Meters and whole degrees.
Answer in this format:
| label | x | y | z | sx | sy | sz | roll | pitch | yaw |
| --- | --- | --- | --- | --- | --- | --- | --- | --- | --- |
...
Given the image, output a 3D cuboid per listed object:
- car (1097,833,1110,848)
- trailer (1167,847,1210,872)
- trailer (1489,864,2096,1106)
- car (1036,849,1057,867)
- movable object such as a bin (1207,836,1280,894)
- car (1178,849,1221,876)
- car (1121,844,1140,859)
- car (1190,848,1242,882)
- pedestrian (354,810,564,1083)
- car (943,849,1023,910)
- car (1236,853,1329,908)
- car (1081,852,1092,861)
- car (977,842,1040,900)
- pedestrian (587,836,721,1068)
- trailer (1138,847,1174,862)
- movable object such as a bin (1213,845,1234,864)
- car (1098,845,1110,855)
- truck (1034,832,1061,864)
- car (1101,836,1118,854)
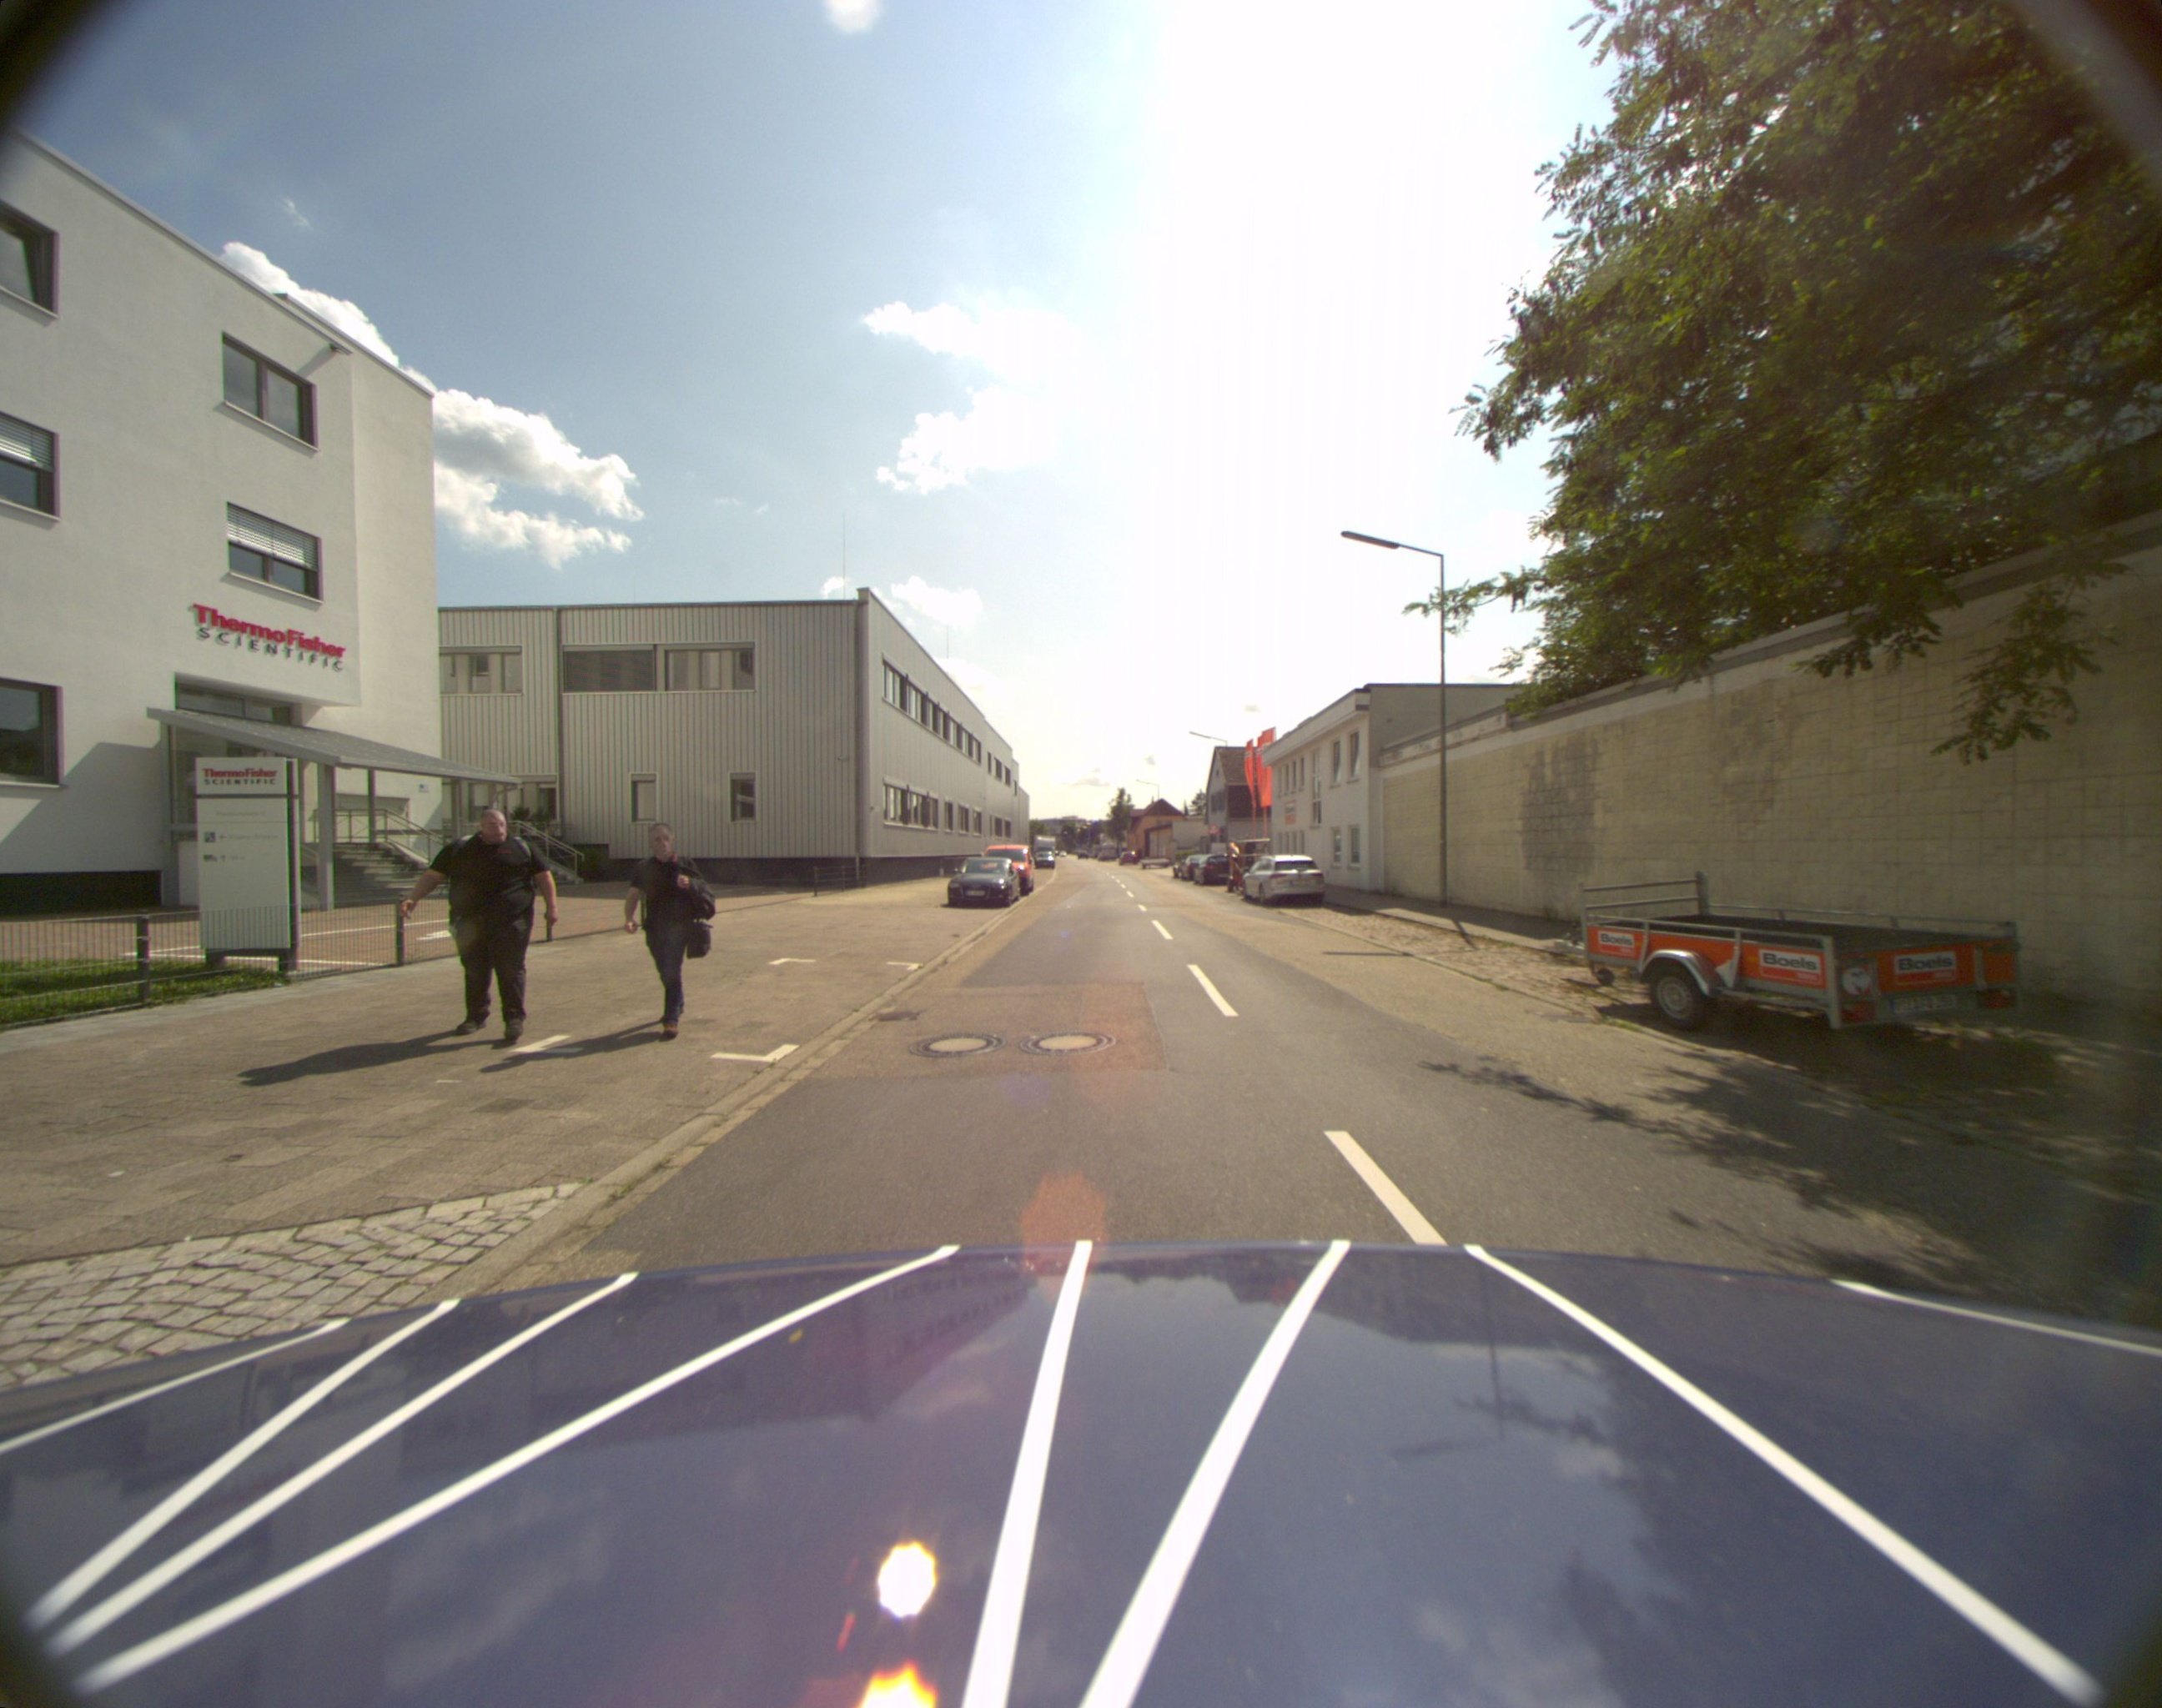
| label | x | y | z | sx | sy | sz | roll | pitch | yaw |
| --- | --- | --- | --- | --- | --- | --- | --- | --- | --- |
| car | 4.240 | -2.501 | 142.273 | 1.999 | 2.556 | 5.823 | -3 | 1 | -1 |
| trailer | 6.467 | 0.313 | 46.266 | 1.772 | 1.368 | 5.050 | -2 | 1 | -1 |
| trailer | 5.956 | 0.916 | 7.285 | 1.771 | 1.431 | 4.335 | -3 | 1 | 1 |
| car | -3.172 | 0.356 | 70.522 | 1.715 | 1.502 | 4.114 | -3 | 1 | -1 |
| movable object such as a bin | 6.147 | 0.385 | 29.258 | 1.618 | 1.908 | 5.138 | -4 | 0 | 0 |
| car | 6.387 | 0.426 | 41.361 | 1.677 | 1.368 | 3.883 | -2 | 1 | -1 |
| car | 5.489 | -0.284 | 84.473 | 1.714 | 1.459 | 4.629 | -3 | 1 | 0 |
| car | 6.318 | 0.475 | 35.926 | 1.677 | 1.447 | 4.223 | -2 | 1 | 0 |
| pedestrian | -4.879 | 0.653 | 6.077 | 0.994 | 1.940 | 1.089 | 0 | 1 | -22 |
| car | -2.829 | 0.676 | 22.865 | 1.663 | 1.549 | 4.178 | -3 | 1 | 2 |
| car | 6.065 | 0.732 | 23.374 | 1.677 | 1.447 | 4.513 | -2 | 1 | 1 |
| car | 0.908 | 0.369 | 130.547 | 1.739 | 1.434 | 3.999 | 1 | 1 | -2 |
| car | -2.633 | 0.564 | 28.630 | 1.877 | 1.881 | 4.451 | -5 | 1 | -1 |
| pedestrian | -3.595 | 0.757 | 6.503 | 0.860 | 1.797 | 1.003 | 0 | 1 | -22 |
| trailer | 6.294 | 0.004 | 64.859 | 2.457 | 1.157 | 6.052 | -2 | 1 | 0 |
| movable object such as a bin | 10.806 | 0.050 | 57.605 | 1.319 | 1.419 | 1.188 | 0 | 1 | -4 |
| car | 3.767 | -0.652 | 123.301 | 1.658 | 1.483 | 3.715 | -3 | 1 | -1 |
| truck | -3.751 | -0.658 | 84.633 | 2.608 | 3.207 | 8.074 | -3 | 1 | -4 |
| car | 4.375 | -1.401 | 116.083 | 2.079 | 2.527 | 5.823 | -3 | 1 | -1 |
